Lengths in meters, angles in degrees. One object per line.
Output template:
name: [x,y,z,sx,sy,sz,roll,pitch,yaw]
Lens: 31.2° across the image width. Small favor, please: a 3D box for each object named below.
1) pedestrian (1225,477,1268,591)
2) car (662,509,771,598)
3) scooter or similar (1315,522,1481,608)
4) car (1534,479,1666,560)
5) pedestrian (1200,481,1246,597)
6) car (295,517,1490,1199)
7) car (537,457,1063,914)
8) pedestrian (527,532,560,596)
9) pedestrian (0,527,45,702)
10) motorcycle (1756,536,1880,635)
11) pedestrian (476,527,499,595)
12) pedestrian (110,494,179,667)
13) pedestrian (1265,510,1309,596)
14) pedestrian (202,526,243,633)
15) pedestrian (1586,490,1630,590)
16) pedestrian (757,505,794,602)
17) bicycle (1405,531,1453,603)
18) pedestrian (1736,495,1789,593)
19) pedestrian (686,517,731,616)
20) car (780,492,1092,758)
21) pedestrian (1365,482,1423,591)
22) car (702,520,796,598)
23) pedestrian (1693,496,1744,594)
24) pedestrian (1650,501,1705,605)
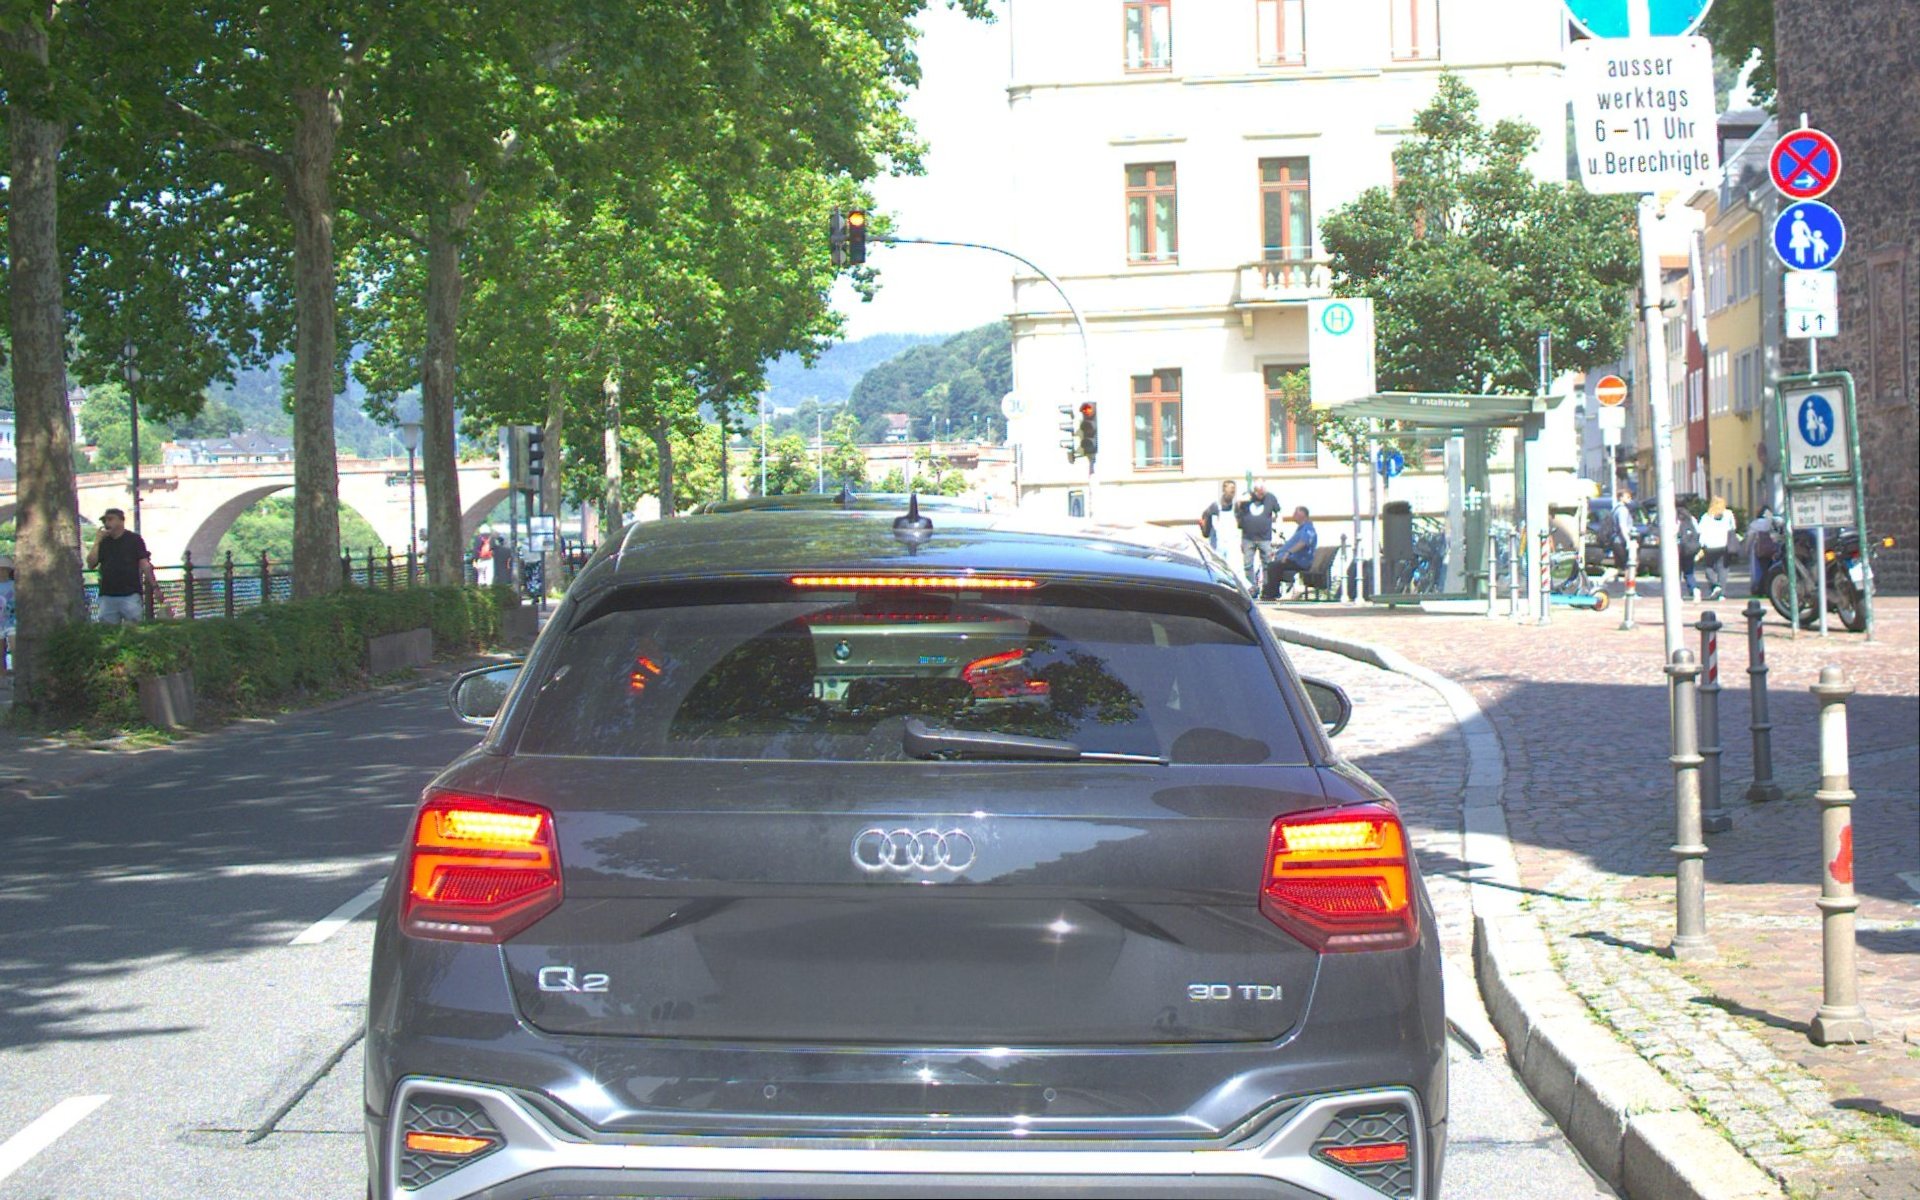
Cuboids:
pedestrian: [4.094,-0.942,49.165,0.557,1.627,0.660,0,1,1]
car: [-4.416,-0.867,62.718,1.615,1.518,3.476,-2,1,1]
scooter or similar: [5.083,-0.412,39.944,1.845,0.960,0.429,1,1,-1]
car: [14.115,-1.783,76.060,1.993,1.710,4.001,-1,1,-2]
pedestrian: [3.554,-0.827,46.477,0.557,1.552,0.660,0,1,1]
car: [-0.154,0.590,6.878,1.748,1.489,3.629,1,1,-2]
car: [-0.565,0.265,13.777,1.801,1.557,3.716,1,1,0]
pedestrian: [-8.429,-0.730,69.545,0.591,1.274,0.525,1,1,0]
pedestrian: [-9.468,0.129,34.029,0.645,1.711,0.665,1,1,-3]
motorcycle: [7.567,-0.145,30.405,0.483,0.815,2.280,-2,1,0]
pedestrian: [-9.941,-0.821,72.304,0.409,1.420,0.457,1,1,-2]
pedestrian: [-8.273,-0.191,34.905,0.563,1.735,0.665,0,-1,-3]
pedestrian: [4.604,-0.665,48.395,0.546,1.197,0.522,1,1,1]
pedestrian: [-10.764,-0.304,50.180,0.497,1.532,0.680,2,1,-8]
pedestrian: [10.686,-0.985,56.675,0.546,1.629,0.660,1,1,-3]
pedestrian: [-2.994,-0.756,55.908,0.557,1.552,0.660,0,1,1]
bicycle: [6.461,-0.458,47.437,0.450,0.971,1.400,1,1,0]
pedestrian: [12.555,-0.882,53.780,0.658,1.512,0.627,1,1,1]
pedestrian: [-4.106,-0.552,56.177,0.546,1.595,0.660,1,1,11]
car: [-0.152,0.106,22.362,1.801,1.518,3.716,-2,1,0]
pedestrian: [6.214,-0.911,49.252,0.747,1.552,0.588,0,1,1]
car: [-4.381,-0.881,71.685,1.615,1.518,3.476,-2,1,1]
pedestrian: [11.858,-0.860,53.733,0.658,1.512,0.548,1,1,1]
pedestrian: [10.398,-0.680,49.857,0.658,1.488,0.548,1,1,1]
